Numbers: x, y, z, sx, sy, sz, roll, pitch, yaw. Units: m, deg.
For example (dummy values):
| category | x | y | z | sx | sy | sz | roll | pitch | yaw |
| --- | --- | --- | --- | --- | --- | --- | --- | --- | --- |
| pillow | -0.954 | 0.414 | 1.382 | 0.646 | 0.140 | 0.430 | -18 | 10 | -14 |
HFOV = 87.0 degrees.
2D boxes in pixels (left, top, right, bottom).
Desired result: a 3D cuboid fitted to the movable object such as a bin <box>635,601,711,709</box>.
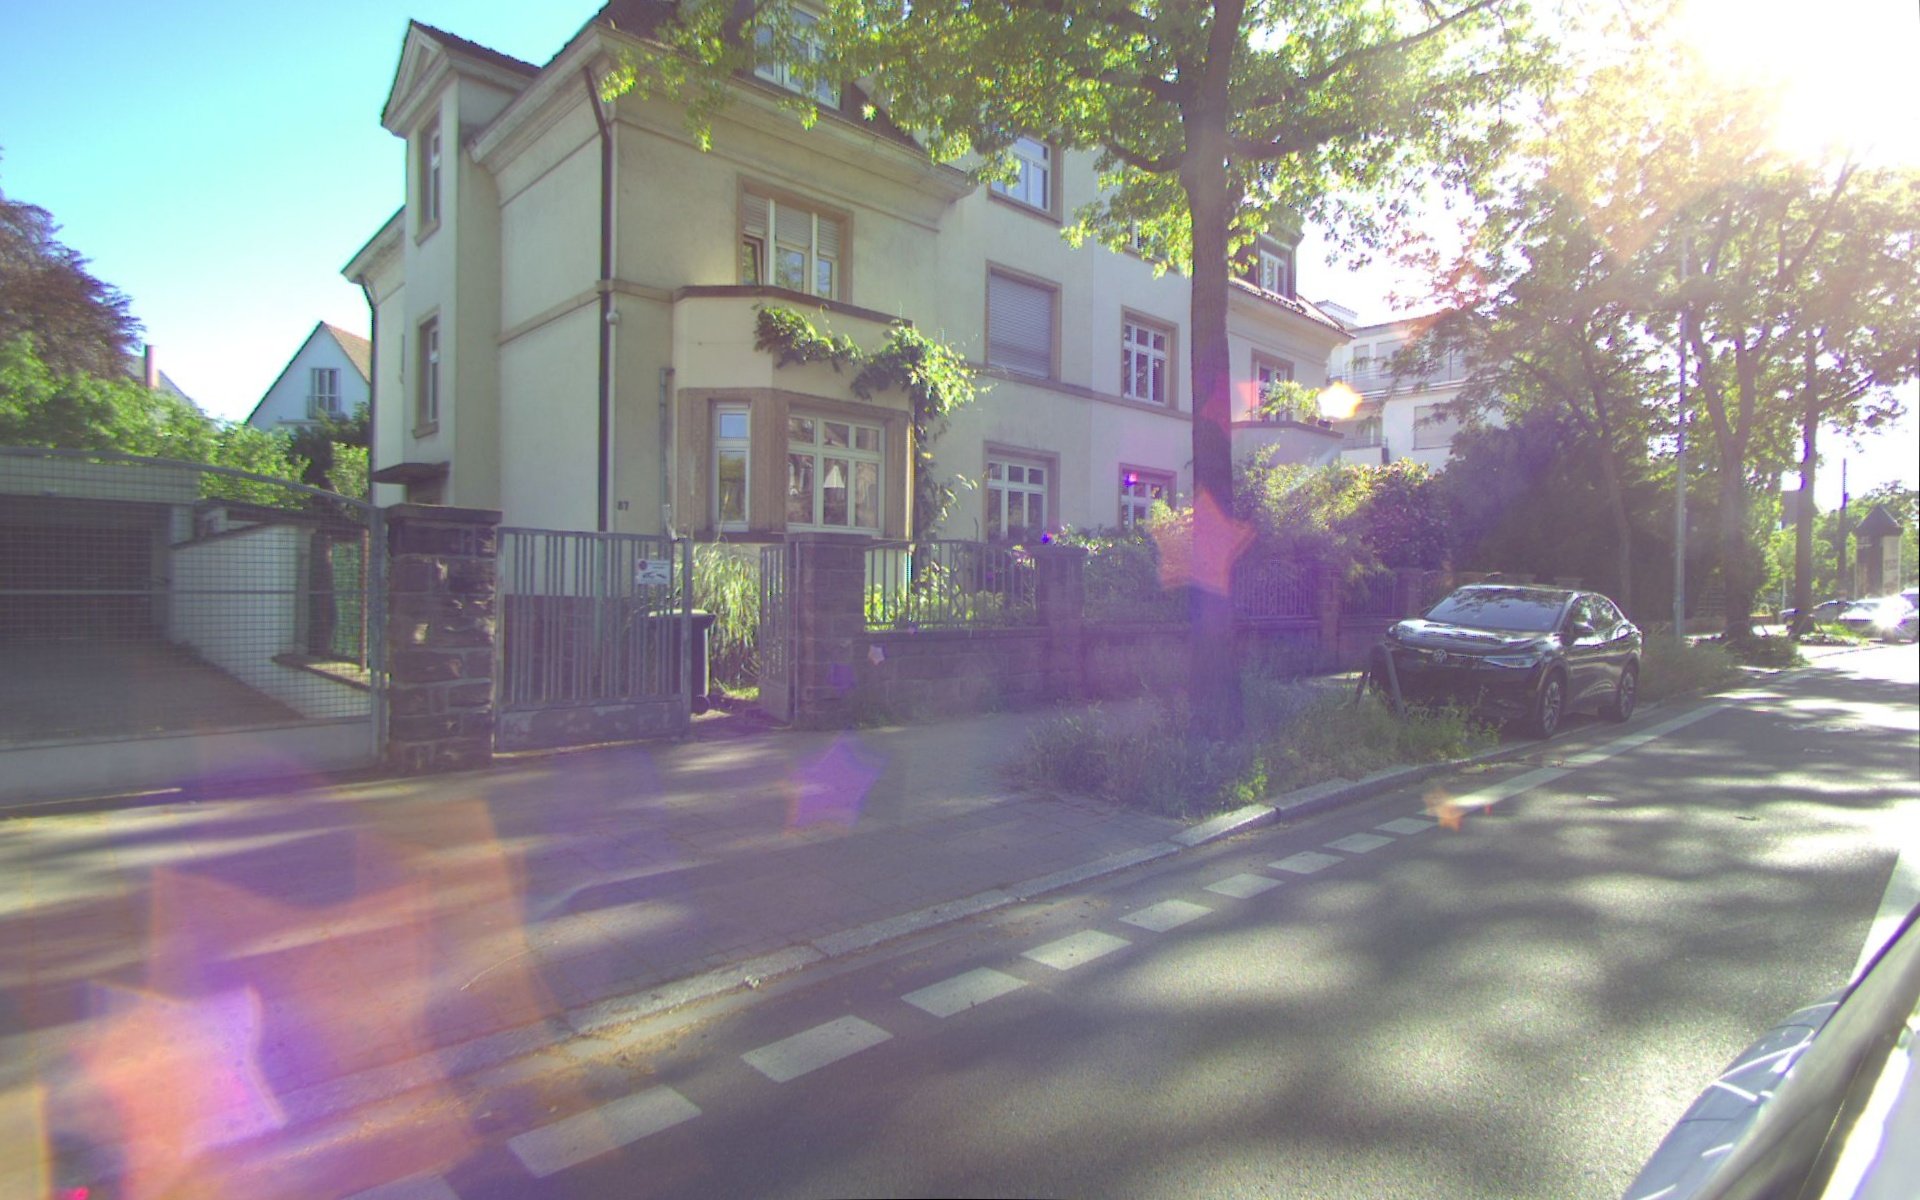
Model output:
| category | x | y | z | sx | sy | sz | roll | pitch | yaw |
| --- | --- | --- | --- | --- | --- | --- | --- | --- | --- |
| movable object such as a bin | -3.095 | 0.557 | 10.850 | 0.697 | 1.070 | 1.093 | 0 | 0 | -20 |

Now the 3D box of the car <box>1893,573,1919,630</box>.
| category | x | y | z | sx | sy | sz | roll | pitch | yaw |
| --- | --- | --- | --- | --- | --- | --- | --- | --- | --- |
| car | 36.791 | 0.054 | 38.075 | 4.503 | 2.039 | 1.997 | 0 | 1 | -41 |

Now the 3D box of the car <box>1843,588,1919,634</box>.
| category | x | y | z | sx | sy | sz | roll | pitch | yaw |
| --- | --- | --- | --- | --- | --- | --- | --- | --- | --- |
| car | 31.555 | 0.341 | 34.414 | 3.930 | 1.469 | 1.785 | 0 | 1 | -41 |

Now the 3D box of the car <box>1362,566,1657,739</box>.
| category | x | y | z | sx | sy | sz | roll | pitch | yaw |
| --- | --- | --- | --- | --- | --- | --- | --- | --- | --- |
| car | 6.629 | 0.496 | 12.037 | 4.021 | 1.626 | 1.743 | 0 | 4 | -42 |
